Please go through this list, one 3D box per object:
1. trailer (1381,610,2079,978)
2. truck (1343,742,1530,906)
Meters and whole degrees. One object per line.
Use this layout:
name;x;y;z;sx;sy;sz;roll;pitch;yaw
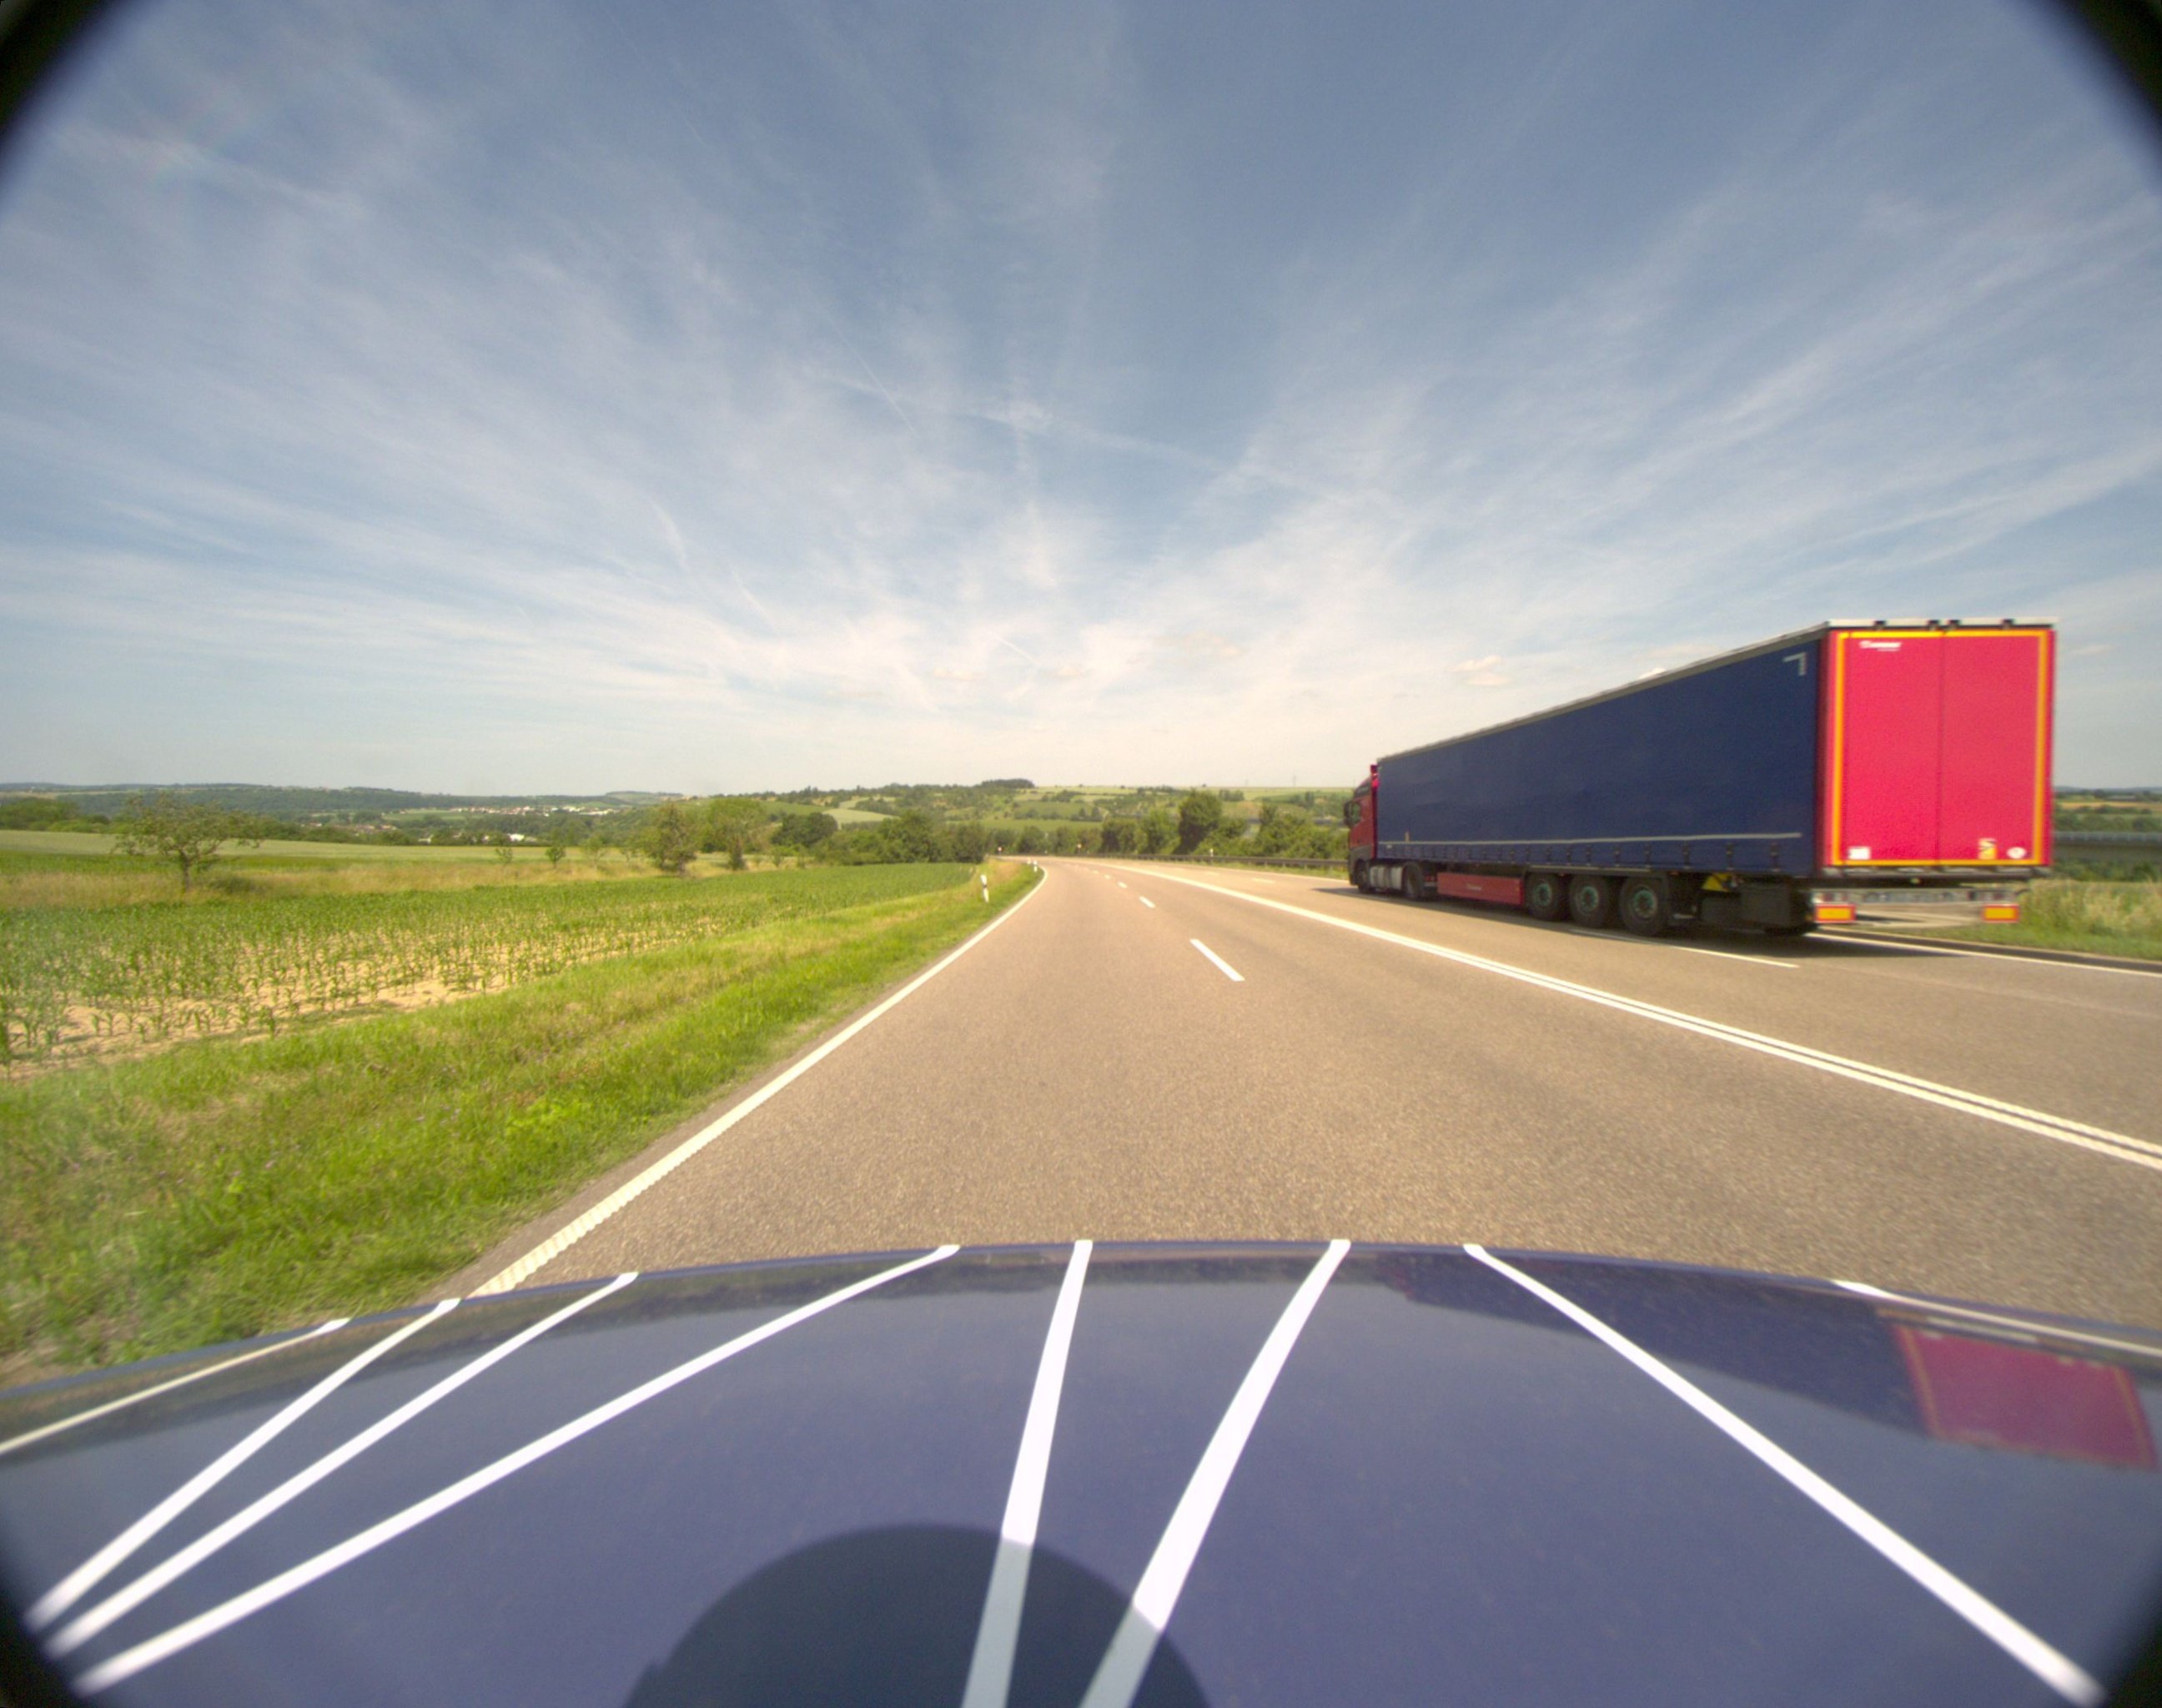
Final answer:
trailer;9.891;-0.719;15.254;2.551;4.078;13.582;0;1;1
truck;9.939;-0.766;22.019;2.623;4.078;6.087;0;1;1
